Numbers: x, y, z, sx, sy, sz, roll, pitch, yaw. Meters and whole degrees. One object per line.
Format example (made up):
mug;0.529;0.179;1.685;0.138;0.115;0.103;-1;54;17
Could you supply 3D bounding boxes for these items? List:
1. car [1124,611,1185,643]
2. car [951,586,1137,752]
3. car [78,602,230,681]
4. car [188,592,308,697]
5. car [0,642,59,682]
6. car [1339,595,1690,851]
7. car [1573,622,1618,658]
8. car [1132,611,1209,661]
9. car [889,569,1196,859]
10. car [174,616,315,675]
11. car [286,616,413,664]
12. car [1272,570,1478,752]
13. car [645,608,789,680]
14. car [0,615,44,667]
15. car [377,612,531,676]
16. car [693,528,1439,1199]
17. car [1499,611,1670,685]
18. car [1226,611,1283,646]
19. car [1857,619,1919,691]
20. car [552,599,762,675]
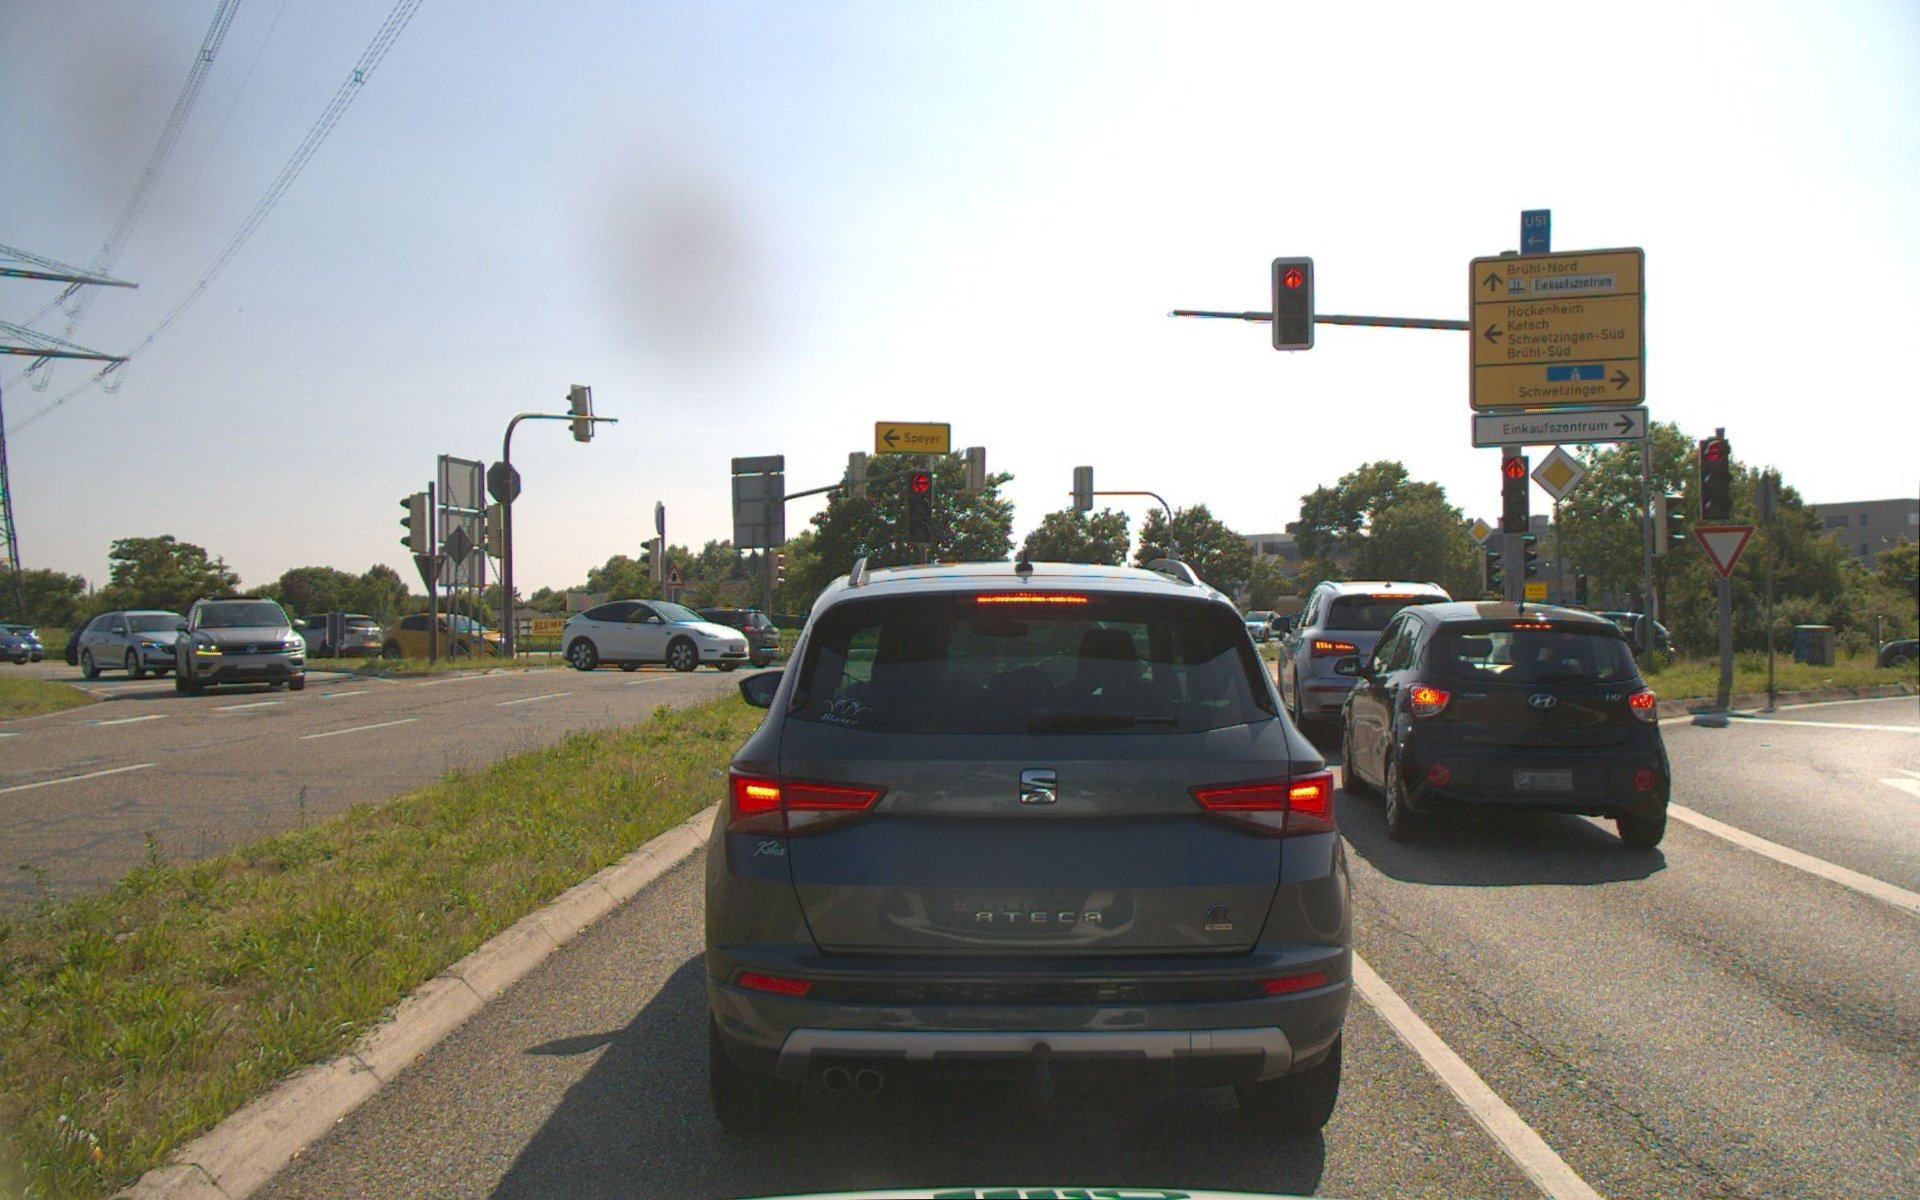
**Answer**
car;9.711;1.360;82.320;1.685;1.524;3.764;1;0;29
car;0.926;0.658;17.270;1.705;1.510;3.626;1;0;4
car;-18.165;0.910;37.206;3.930;1.680;1.809;-1;-1;43
car;-12.333;0.725;28.790;1.789;1.680;3.973;0;0;-22
car;-36.668;2.378;63.952;3.080;1.406;1.672;1;0;24
car;3.635;0.715;11.378;1.598;1.473;3.297;1;0;6
car;31.609;1.952;82.240;1.839;1.702;3.767;1;0;24
car;7.612;1.277;59.555;1.838;1.702;3.769;1;0;22
car;0.472;0.654;11.141;1.706;1.596;3.624;1;0;0
car;-21.456;1.345;49.573;3.910;1.680;1.818;-1;0;27
car;-20.310;1.322;55.044;3.789;1.545;1.807;-1;0;23
car;4.301;0.583;17.618;1.598;1.706;3.752;1;0;6
car;-7.033;1.250;47.764;3.932;1.987;1.693;-1;-1;30
car;-32.657;1.347;55.177;3.910;1.680;1.818;-1;0;27
car;-13.874;1.188;45.326;3.910;1.680;1.818;-1;0;27
car;0.226;0.660;5.652;1.706;1.596;3.623;1;0;-1
car;14.060;1.055;37.255;3.465;1.542;1.460;1;0;27
car;15.060;1.469;84.453;1.841;1.702;3.765;1;0;28
car;24.083;1.330;39.987;1.802;1.725;3.845;0;0;-30
car;-7.036;0.837;38.295;4.653;1.680;1.818;-1;0;27
